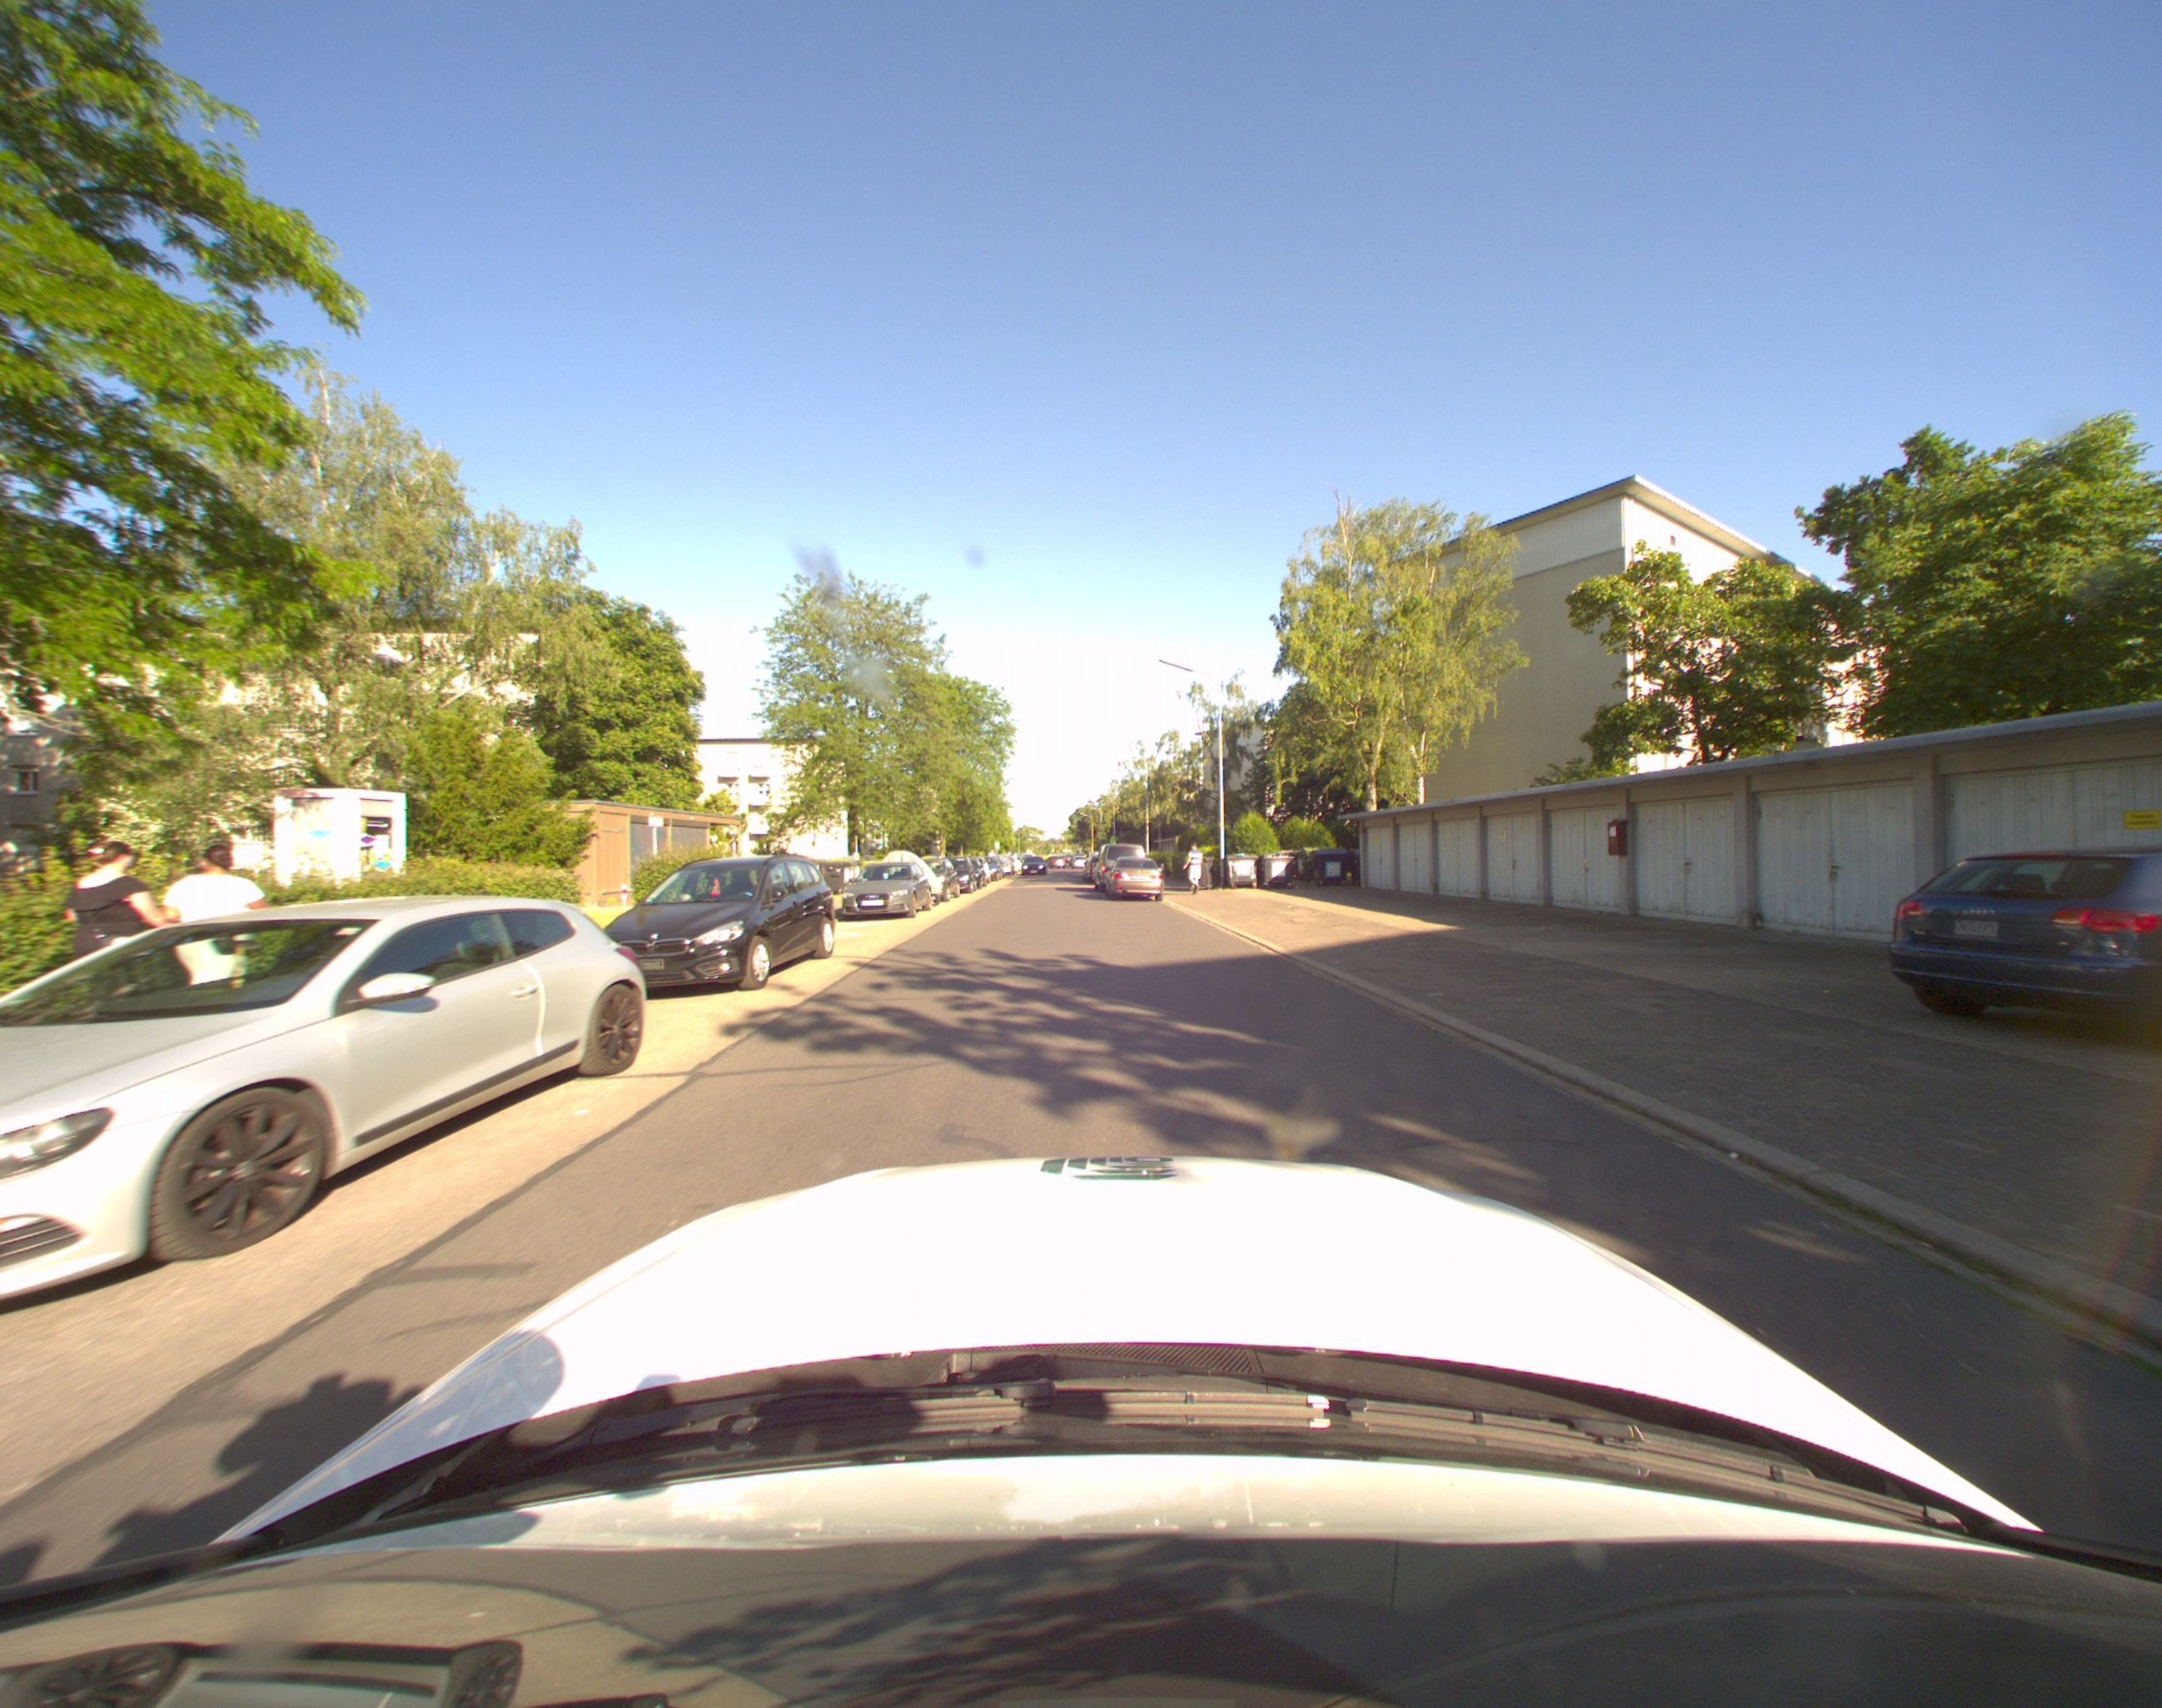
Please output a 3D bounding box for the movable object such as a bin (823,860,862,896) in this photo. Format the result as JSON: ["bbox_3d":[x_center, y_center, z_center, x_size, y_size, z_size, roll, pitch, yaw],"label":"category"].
[{"bbox_3d":[-9.732,0.966,33.258,1.174,1.408,1.342,-1,0,-1],"label":"movable object such as a bin"}]

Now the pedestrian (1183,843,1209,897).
[{"bbox_3d":[4.166,0.561,29.643,0.701,1.888,0.872,-3,0,-1],"label":"pedestrian"}]

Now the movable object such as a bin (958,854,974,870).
[{"bbox_3d":[-9.964,0.697,70.727,1.132,1.382,1.441,1,0,-1],"label":"movable object such as a bin"}]

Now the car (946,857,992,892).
[{"bbox_3d":[-5.417,0.972,39.948,1.750,1.481,4.533,-3,0,-3],"label":"car"}]

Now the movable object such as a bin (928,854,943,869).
[{"bbox_3d":[-14.610,0.763,81.602,1.174,1.420,1.462,1,0,0],"label":"movable object such as a bin"}]

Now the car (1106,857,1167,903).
[{"bbox_3d":[1.847,0.835,28.385,1.795,1.419,4.635,0,0,0],"label":"car"}]

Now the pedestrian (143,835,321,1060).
[{"bbox_3d":[-6.654,0.699,6.418,0.719,1.679,0.616,-1,0,-2],"label":"pedestrian"}]

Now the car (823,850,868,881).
[{"bbox_3d":[-12.912,0.588,44.864,1.567,1.641,3.995,0,0,-4],"label":"car"}]

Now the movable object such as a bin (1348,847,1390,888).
[{"bbox_3d":[11.244,0.524,31.810,1.271,1.465,1.134,-1,4,1],"label":"movable object such as a bin"}]

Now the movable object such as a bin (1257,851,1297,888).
[{"bbox_3d":[7.513,0.589,31.233,1.271,1.365,1.133,-1,0,1],"label":"movable object such as a bin"}]

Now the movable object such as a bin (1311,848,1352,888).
[{"bbox_3d":[9.854,0.550,32.080,1.271,1.465,1.134,-1,4,1],"label":"movable object such as a bin"}]

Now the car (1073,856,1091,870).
[{"bbox_3d":[0.118,0.966,91.743,1.750,1.513,4.098,0,0,-4],"label":"car"}]

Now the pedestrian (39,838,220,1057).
[{"bbox_3d":[-7.669,0.722,6.594,0.719,1.679,0.599,-1,0,-2],"label":"pedestrian"}]

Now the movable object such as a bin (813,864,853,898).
[{"bbox_3d":[-9.699,1.036,31.897,1.174,1.288,1.342,-1,0,-1],"label":"movable object such as a bin"}]

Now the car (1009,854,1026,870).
[{"bbox_3d":[-6.595,0.797,85.014,1.683,1.505,3.813,-2,0,-3],"label":"car"}]

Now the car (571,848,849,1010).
[{"bbox_3d":[-4.601,0.795,10.938,1.750,1.635,4.367,-3,0,-2],"label":"car"}]

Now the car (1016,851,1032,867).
[{"bbox_3d":[-7.073,0.563,101.792,1.850,1.892,4.412,-2,0,-3],"label":"car"}]

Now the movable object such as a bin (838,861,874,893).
[{"bbox_3d":[-9.719,0.972,35.212,1.174,1.340,1.343,-1,0,-1],"label":"movable object such as a bin"}]

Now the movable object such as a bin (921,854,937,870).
[{"bbox_3d":[-14.647,0.775,78.519,1.174,1.420,1.462,1,0,0],"label":"movable object such as a bin"}]

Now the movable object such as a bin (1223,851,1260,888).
[{"bbox_3d":[6.217,0.597,31.572,1.219,1.365,1.133,-1,0,1],"label":"movable object such as a bin"}]

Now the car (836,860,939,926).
[{"bbox_3d":[-4.981,0.955,21.556,1.750,1.421,4.266,-3,0,-2],"label":"car"}]

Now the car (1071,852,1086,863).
[{"bbox_3d":[-0.370,0.455,114.209,1.903,1.531,4.325,-1,0,-2],"label":"car"}]

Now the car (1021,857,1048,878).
[{"bbox_3d":[-3.529,1.018,62.527,1.906,1.476,4.567,-2,0,-2],"label":"car"}]

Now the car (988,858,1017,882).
[{"bbox_3d":[-5.970,1.202,62.523,1.898,1.639,4.346,-2,0,-2],"label":"car"}]

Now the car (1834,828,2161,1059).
[{"bbox_3d":[8.730,0.548,6.397,4.175,1.494,1.815,-1,0,-5],"label":"car"}]

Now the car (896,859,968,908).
[{"bbox_3d":[-5.225,0.981,29.089,1.749,1.481,3.958,-3,0,0],"label":"car"}]

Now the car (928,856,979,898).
[{"bbox_3d":[-5.436,0.951,35.121,1.750,1.574,3.716,-3,0,-3],"label":"car"}]

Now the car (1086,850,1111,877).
[{"bbox_3d":[1.122,0.602,53.846,1.485,1.718,2.581,0,0,-2],"label":"car"}]

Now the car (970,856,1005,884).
[{"bbox_3d":[-5.946,1.006,52.049,1.749,1.606,3.967,-3,0,-1],"label":"car"}]

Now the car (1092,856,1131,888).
[{"bbox_3d":[1.496,0.859,40.853,1.619,1.490,4.032,0,0,-3],"label":"car"}]

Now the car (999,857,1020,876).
[{"bbox_3d":[-6.400,1.090,72.961,1.662,1.513,3.528,-2,0,-8],"label":"car"}]

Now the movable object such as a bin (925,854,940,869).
[{"bbox_3d":[-14.633,0.759,80.081,1.174,1.420,1.462,1,0,0],"label":"movable object such as a bin"}]

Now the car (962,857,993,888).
[{"bbox_3d":[-5.863,1.036,46.326,1.441,1.574,3.139,-3,0,-3],"label":"car"}]

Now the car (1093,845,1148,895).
[{"bbox_3d":[1.576,0.604,33.990,1.848,1.934,4.700,0,0,-2],"label":"car"}]

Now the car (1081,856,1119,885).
[{"bbox_3d":[1.043,0.899,46.370,1.728,1.490,4.494,-2,0,-4],"label":"car"}]

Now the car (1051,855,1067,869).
[{"bbox_3d":[-2.502,0.840,91.177,1.676,1.513,4.098,0,0,-4],"label":"car"}]

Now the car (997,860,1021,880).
[{"bbox_3d":[-6.020,1.301,68.158,1.657,1.513,3.944,-2,0,-1],"label":"car"}]

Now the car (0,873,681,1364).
[{"bbox_3d":[-4.202,0.907,4.568,1.748,1.425,4.210,-3,0,0],"label":"car"}]

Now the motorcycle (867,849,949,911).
[{"bbox_3d":[-5.277,0.789,25.022,2.252,1.726,0.931,-4,0,-5],"label":"motorcycle"}]

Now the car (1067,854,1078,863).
[{"bbox_3d":[-1.606,0.871,154.344,1.792,1.561,3.946,0,0,-4],"label":"car"}]

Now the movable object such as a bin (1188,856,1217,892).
[{"bbox_3d":[4.849,0.785,32.507,1.020,1.310,1.390,-4,0,8],"label":"movable object such as a bin"}]

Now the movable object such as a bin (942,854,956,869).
[{"bbox_3d":[-13.337,0.756,82.110,1.131,1.420,1.360,1,0,-1],"label":"movable object such as a bin"}]

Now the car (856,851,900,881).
[{"bbox_3d":[-10.944,0.626,44.136,1.567,1.525,3.995,0,0,-4],"label":"car"}]
